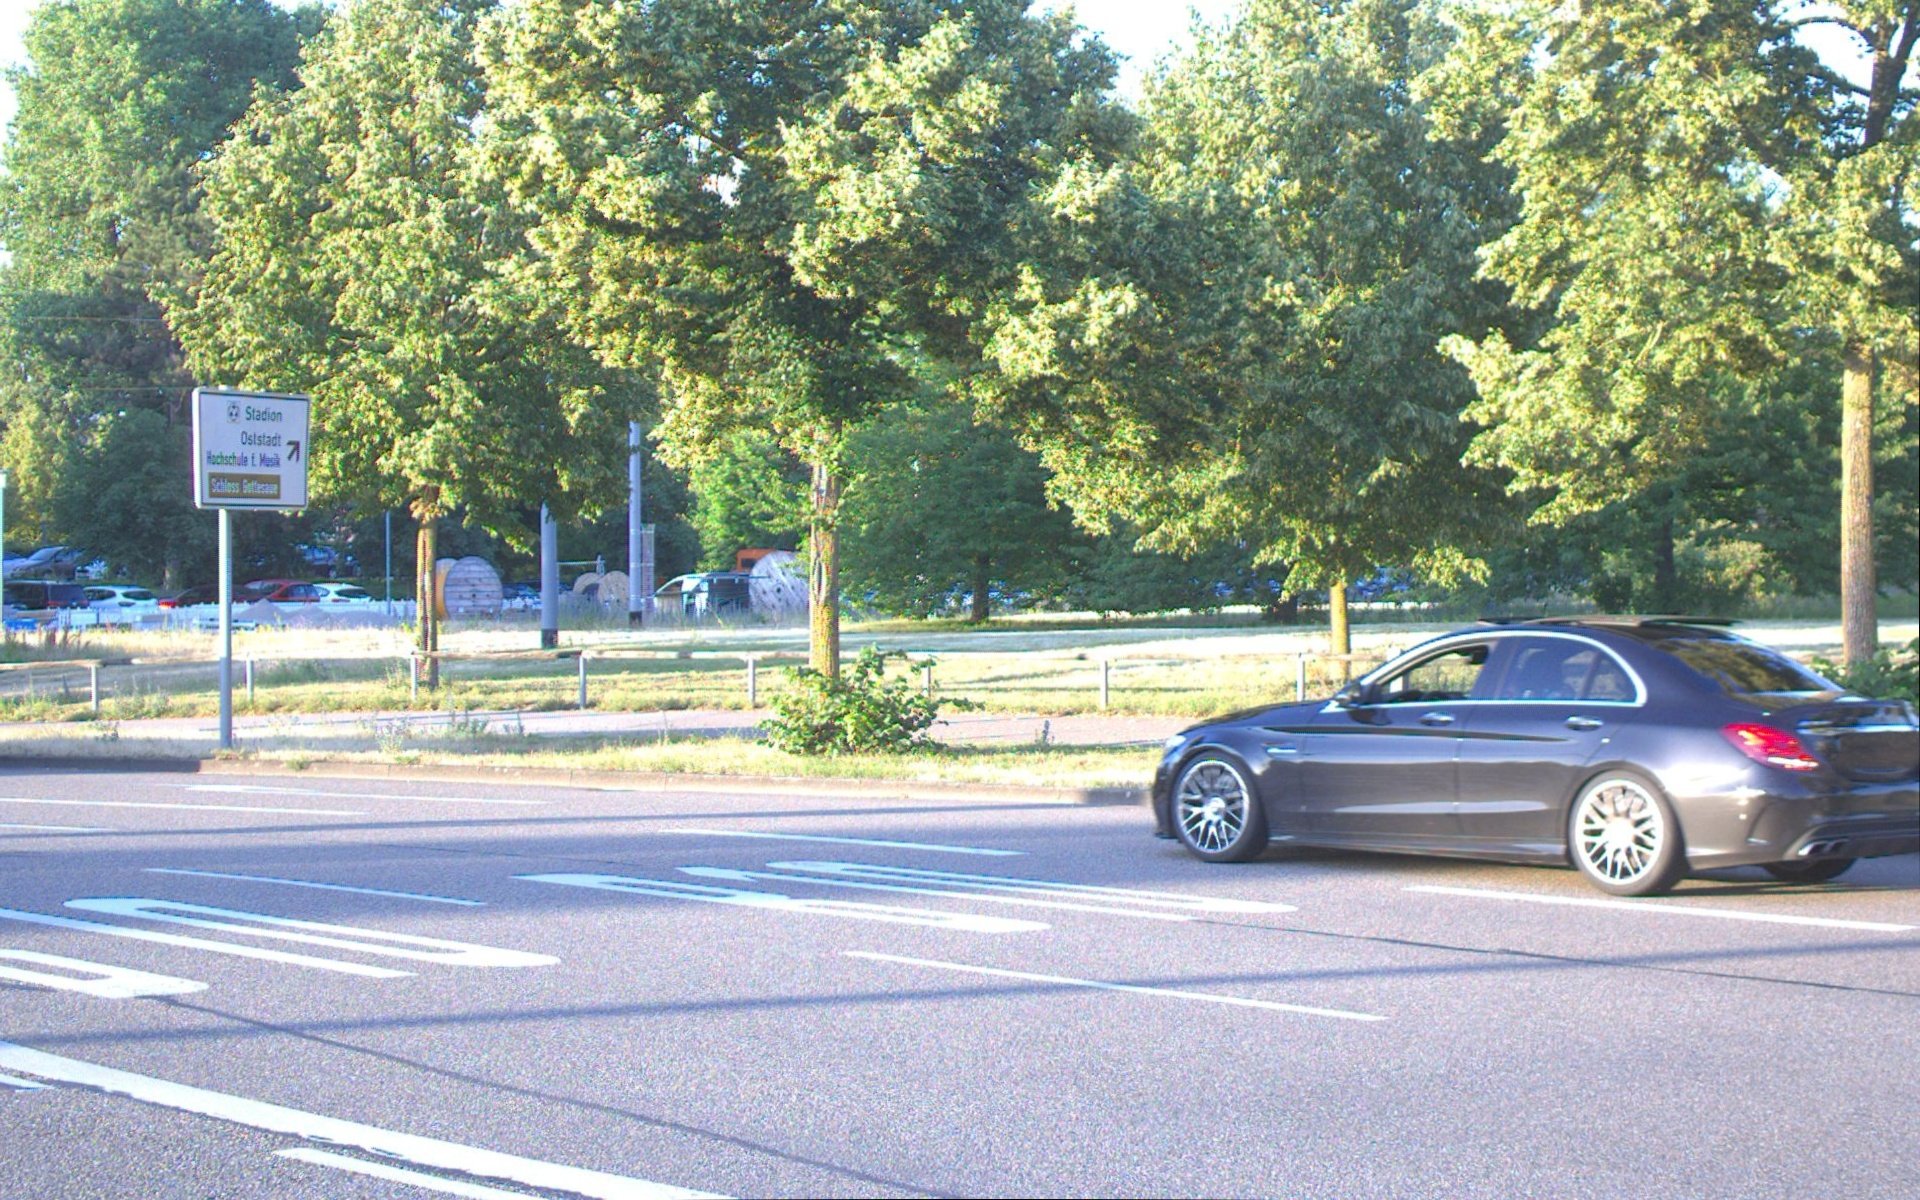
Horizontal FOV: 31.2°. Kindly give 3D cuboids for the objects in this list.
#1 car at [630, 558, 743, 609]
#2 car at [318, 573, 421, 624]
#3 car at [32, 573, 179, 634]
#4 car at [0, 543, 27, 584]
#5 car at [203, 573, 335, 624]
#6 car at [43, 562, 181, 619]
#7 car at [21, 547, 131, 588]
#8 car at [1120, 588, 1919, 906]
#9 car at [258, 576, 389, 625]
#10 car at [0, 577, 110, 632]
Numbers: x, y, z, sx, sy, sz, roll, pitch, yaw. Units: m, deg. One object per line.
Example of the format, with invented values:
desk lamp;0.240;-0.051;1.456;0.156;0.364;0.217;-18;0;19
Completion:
car;-8.953;-0.545;112.312;1.734;1.612;3.999;-1;1;-39
car;-21.838;-0.083;126.979;1.994;1.746;4.598;-1;2;-35
car;-28.759;0.099;115.836;4.582;2.007;2.000;0;1;-6
car;-43.129;-1.602;150.514;1.998;1.809;3.991;0;1;37
car;-22.521;-0.062;112.024;3.995;1.598;1.996;0;1;35
car;-30.570;-0.347;124.038;4.582;2.007;2.000;0;1;-6
car;-36.998;-1.349;143.851;3.988;1.700;1.999;0;1;9
car;3.252;0.721;19.014;1.994;1.500;4.618;1;0;-43
car;-21.055;0.001;113.701;3.995;1.598;1.996;0;1;35
car;-27.680;0.133;103.294;3.995;1.598;1.996;0;1;35
